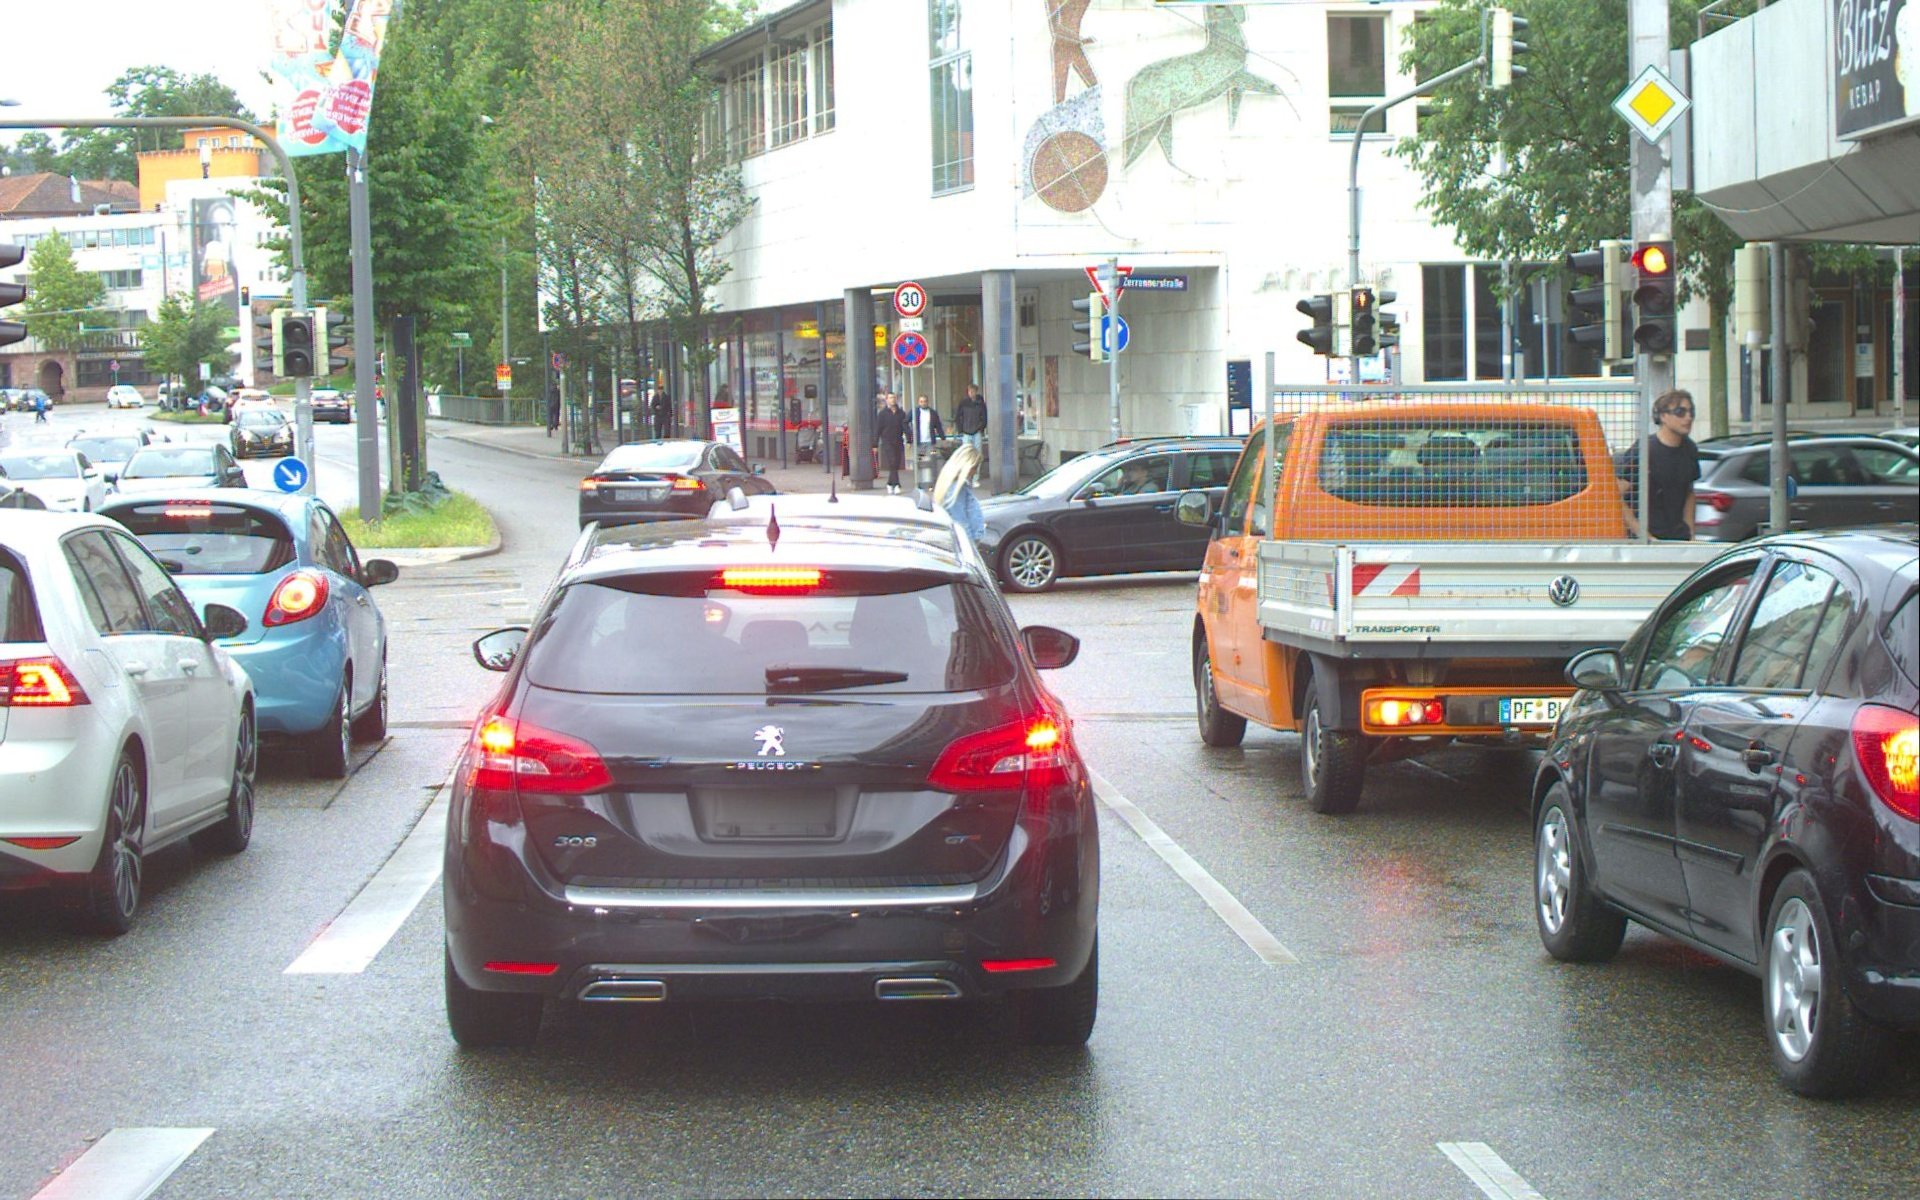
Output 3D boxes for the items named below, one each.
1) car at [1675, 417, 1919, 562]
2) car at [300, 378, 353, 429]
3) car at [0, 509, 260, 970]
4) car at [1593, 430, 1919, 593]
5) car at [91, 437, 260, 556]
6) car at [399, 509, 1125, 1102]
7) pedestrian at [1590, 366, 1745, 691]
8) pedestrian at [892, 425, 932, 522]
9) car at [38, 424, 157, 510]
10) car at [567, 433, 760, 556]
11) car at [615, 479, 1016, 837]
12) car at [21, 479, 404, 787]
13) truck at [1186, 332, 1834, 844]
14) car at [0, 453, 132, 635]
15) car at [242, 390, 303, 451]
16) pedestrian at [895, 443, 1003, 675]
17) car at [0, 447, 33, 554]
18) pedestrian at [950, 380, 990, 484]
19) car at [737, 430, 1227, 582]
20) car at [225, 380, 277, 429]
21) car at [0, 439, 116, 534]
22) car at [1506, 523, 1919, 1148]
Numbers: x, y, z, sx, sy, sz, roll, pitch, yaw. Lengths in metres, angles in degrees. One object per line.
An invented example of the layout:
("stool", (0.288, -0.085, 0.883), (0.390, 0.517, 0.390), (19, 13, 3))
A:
("car", (9.987, -1.177, 37.608), (3.894, 1.481, 1.624), (1, 0, -13))
("car", (-27.302, -8.444, 148.096), (1.705, 1.929, 4.001), (1, 0, -18))
("car", (-3.773, 0.391, 12.791), (1.777, 1.424, 3.843), (1, 2, -4))
("car", (8.316, -0.821, 33.256), (3.986, 1.481, 1.624), (1, 0, -16))
("car", (-11.171, -1.444, 49.167), (1.744, 1.574, 4.001), (1, 0, -4))
("car", (-0.577, 0.463, 10.417), (1.777, 1.424, 3.843), (1, 2, -3))
("pedestrian", (4.121, -0.415, 20.054), (0.742, 1.809, 0.773), (-4, 0, 11))
("pedestrian", (-0.874, -2.306, 62.884), (0.637, 1.752, 0.733), (1, 0, 6))
("car", (-15.576, -2.419, 62.189), (1.632, 1.481, 3.611), (0, 2, -7))
("car", (-3.844, -1.350, 45.343), (1.725, 1.485, 4.732), (1, 0, 5))
("car", (-0.650, 0.185, 16.588), (1.696, 1.481, 3.794), (1, 2, -1))
("car", (-3.994, 0.106, 18.846), (1.632, 1.481, 3.610), (0, 2, -5))
("truck", (2.517, -0.156, 17.206), (2.177, 2.165, 5.021), (1, 2, -3))
("car", (-9.475, -0.413, 29.552), (4.490, 1.449, 1.794), (-3, 4, -13))
("car", (-20.785, -5.407, 103.992), (1.744, 1.634, 4.001), (1, 0, -11))
("pedestrian", (-0.075, -0.301, 25.257), (0.748, 1.674, 0.709), (1, 0, 2))
("car", (-14.192, -1.413, 48.302), (1.574, 1.481, 3.610), (1, 2, -4))
("pedestrian", (0.185, -3.095, 63.386), (0.637, 1.891, 0.733), (1, 0, 6))
("car", (0.206, -0.958, 35.027), (4.721, 1.481, 1.639), (0, 2, -13))
("car", (-30.382, -8.358, 147.262), (1.705, 1.875, 4.001), (1, 0, -18))
("car", (-14.738, -1.855, 55.664), (1.632, 1.481, 3.611), (0, 2, -7))
("car", (2.783, 0.519, 10.018), (1.616, 1.424, 3.843), (1, 2, -2))
